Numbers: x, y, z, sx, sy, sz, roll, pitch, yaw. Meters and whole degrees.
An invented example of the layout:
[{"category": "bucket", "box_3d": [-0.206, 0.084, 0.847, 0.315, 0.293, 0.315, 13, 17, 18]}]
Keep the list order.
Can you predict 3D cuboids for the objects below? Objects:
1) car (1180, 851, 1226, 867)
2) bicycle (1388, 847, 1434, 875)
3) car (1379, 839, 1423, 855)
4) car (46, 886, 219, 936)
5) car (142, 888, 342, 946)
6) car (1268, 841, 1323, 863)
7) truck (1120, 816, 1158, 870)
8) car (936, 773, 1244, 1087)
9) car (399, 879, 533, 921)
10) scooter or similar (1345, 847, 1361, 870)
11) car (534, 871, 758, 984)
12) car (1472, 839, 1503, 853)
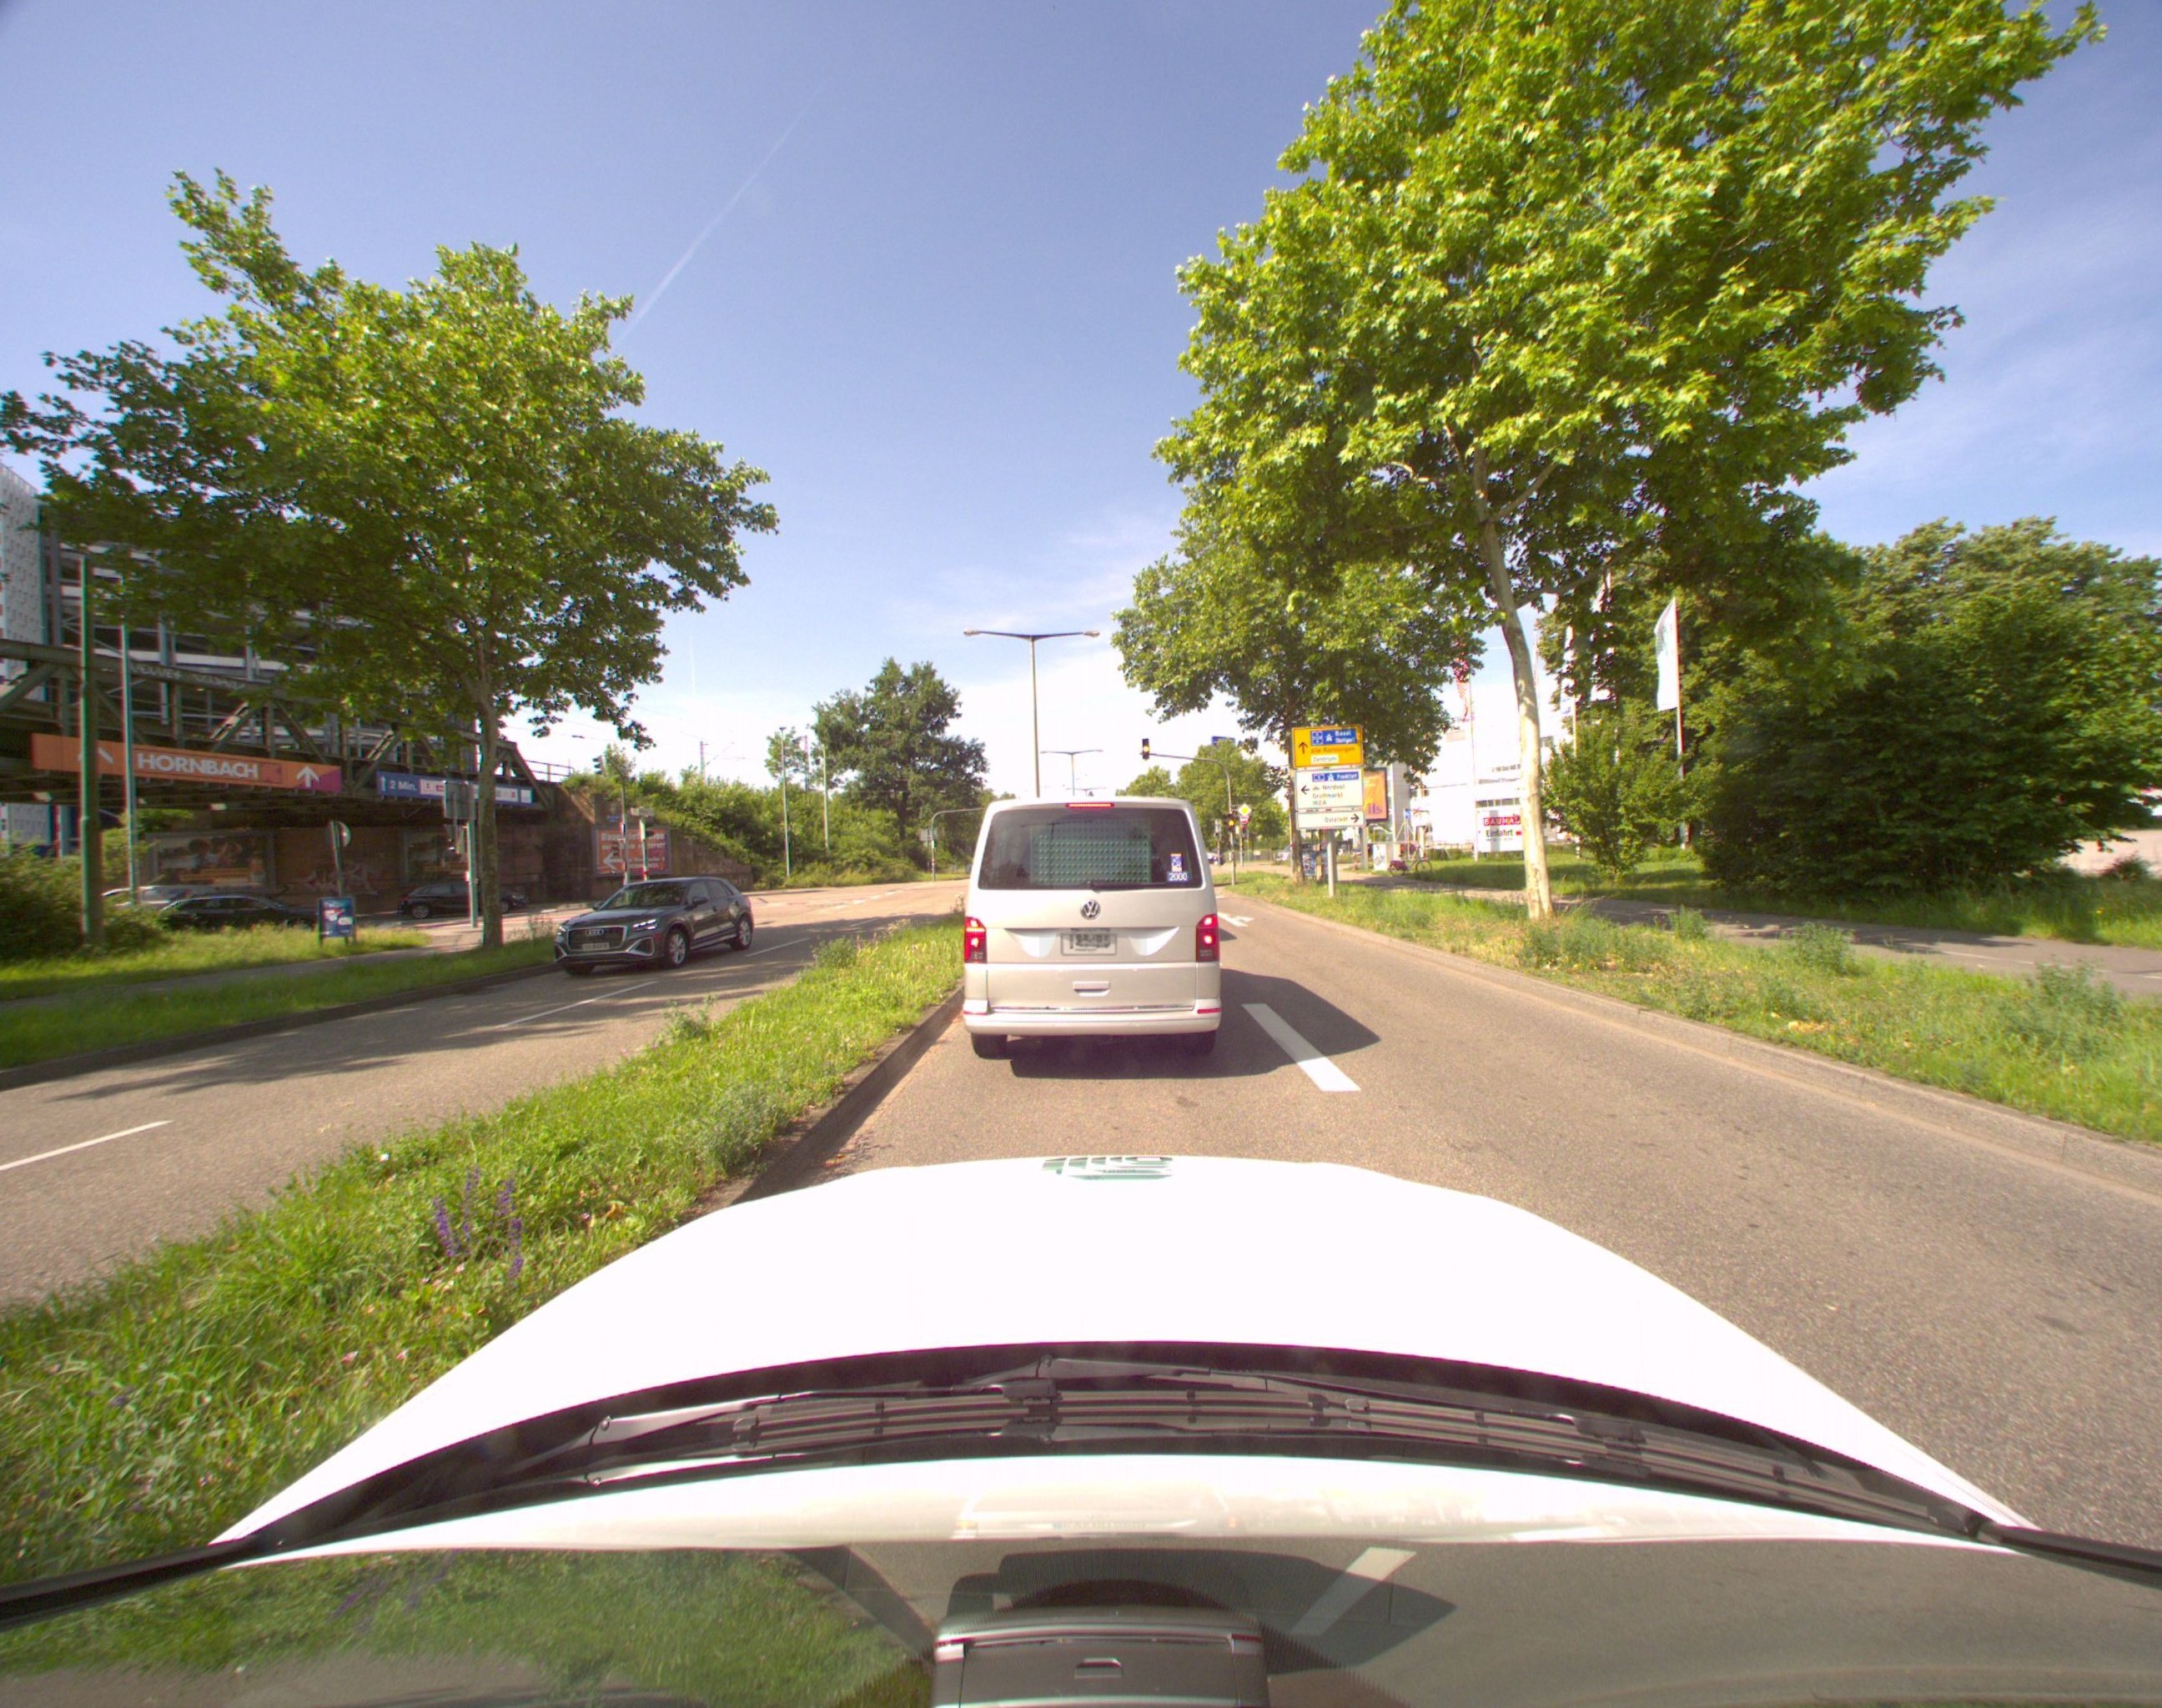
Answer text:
[{"category": "car", "box_3d": [12.999, 0.533, 86.869, 4.566, 1.444, 1.793, -3, 0, 35]}, {"category": "bicycle", "box_3d": [14.193, 0.294, 35.075, 1.771, 1.108, 0.506, -4, -1, 20]}, {"category": "car", "box_3d": [31.998, -0.714, 81.466, 4.646, 1.444, 1.762, -3, 0, -35]}, {"category": "car", "box_3d": [-37.296, 2.180, 32.187, 4.113, 1.649, 1.752, -2, -1, -35]}, {"category": "car", "box_3d": [-25.519, 1.870, 24.999, 3.959, 1.481, 1.804, -1, -1, -34]}, {"category": "car", "box_3d": [18.069, -0.188, 68.491, 4.646, 1.689, 1.895, -3, 0, -35]}, {"category": "truck", "box_3d": [4.592, -0.786, 65.666, 2.543, 3.957, 8.977, -2, 0, 2]}, {"category": "car", "box_3d": [0.134, 0.498, 7.771, 1.934, 1.971, 5.024, -2, 0, 2]}, {"category": "car", "box_3d": [-25.588, 1.870, 34.087, 4.353, 1.395, 1.752, -3, 0, -35]}, {"category": "scooter or similar", "box_3d": [14.109, 0.232, 42.214, 0.423, 1.126, 1.124, -3, 0, 1]}, {"category": "car", "box_3d": [-7.411, 1.159, 14.397, 1.859, 1.467, 3.934, -4, 1, -3]}, {"category": "car", "box_3d": [47.278, -0.862, 94.609, 3.626, 1.566, 1.976, 0, -1, -41]}]
